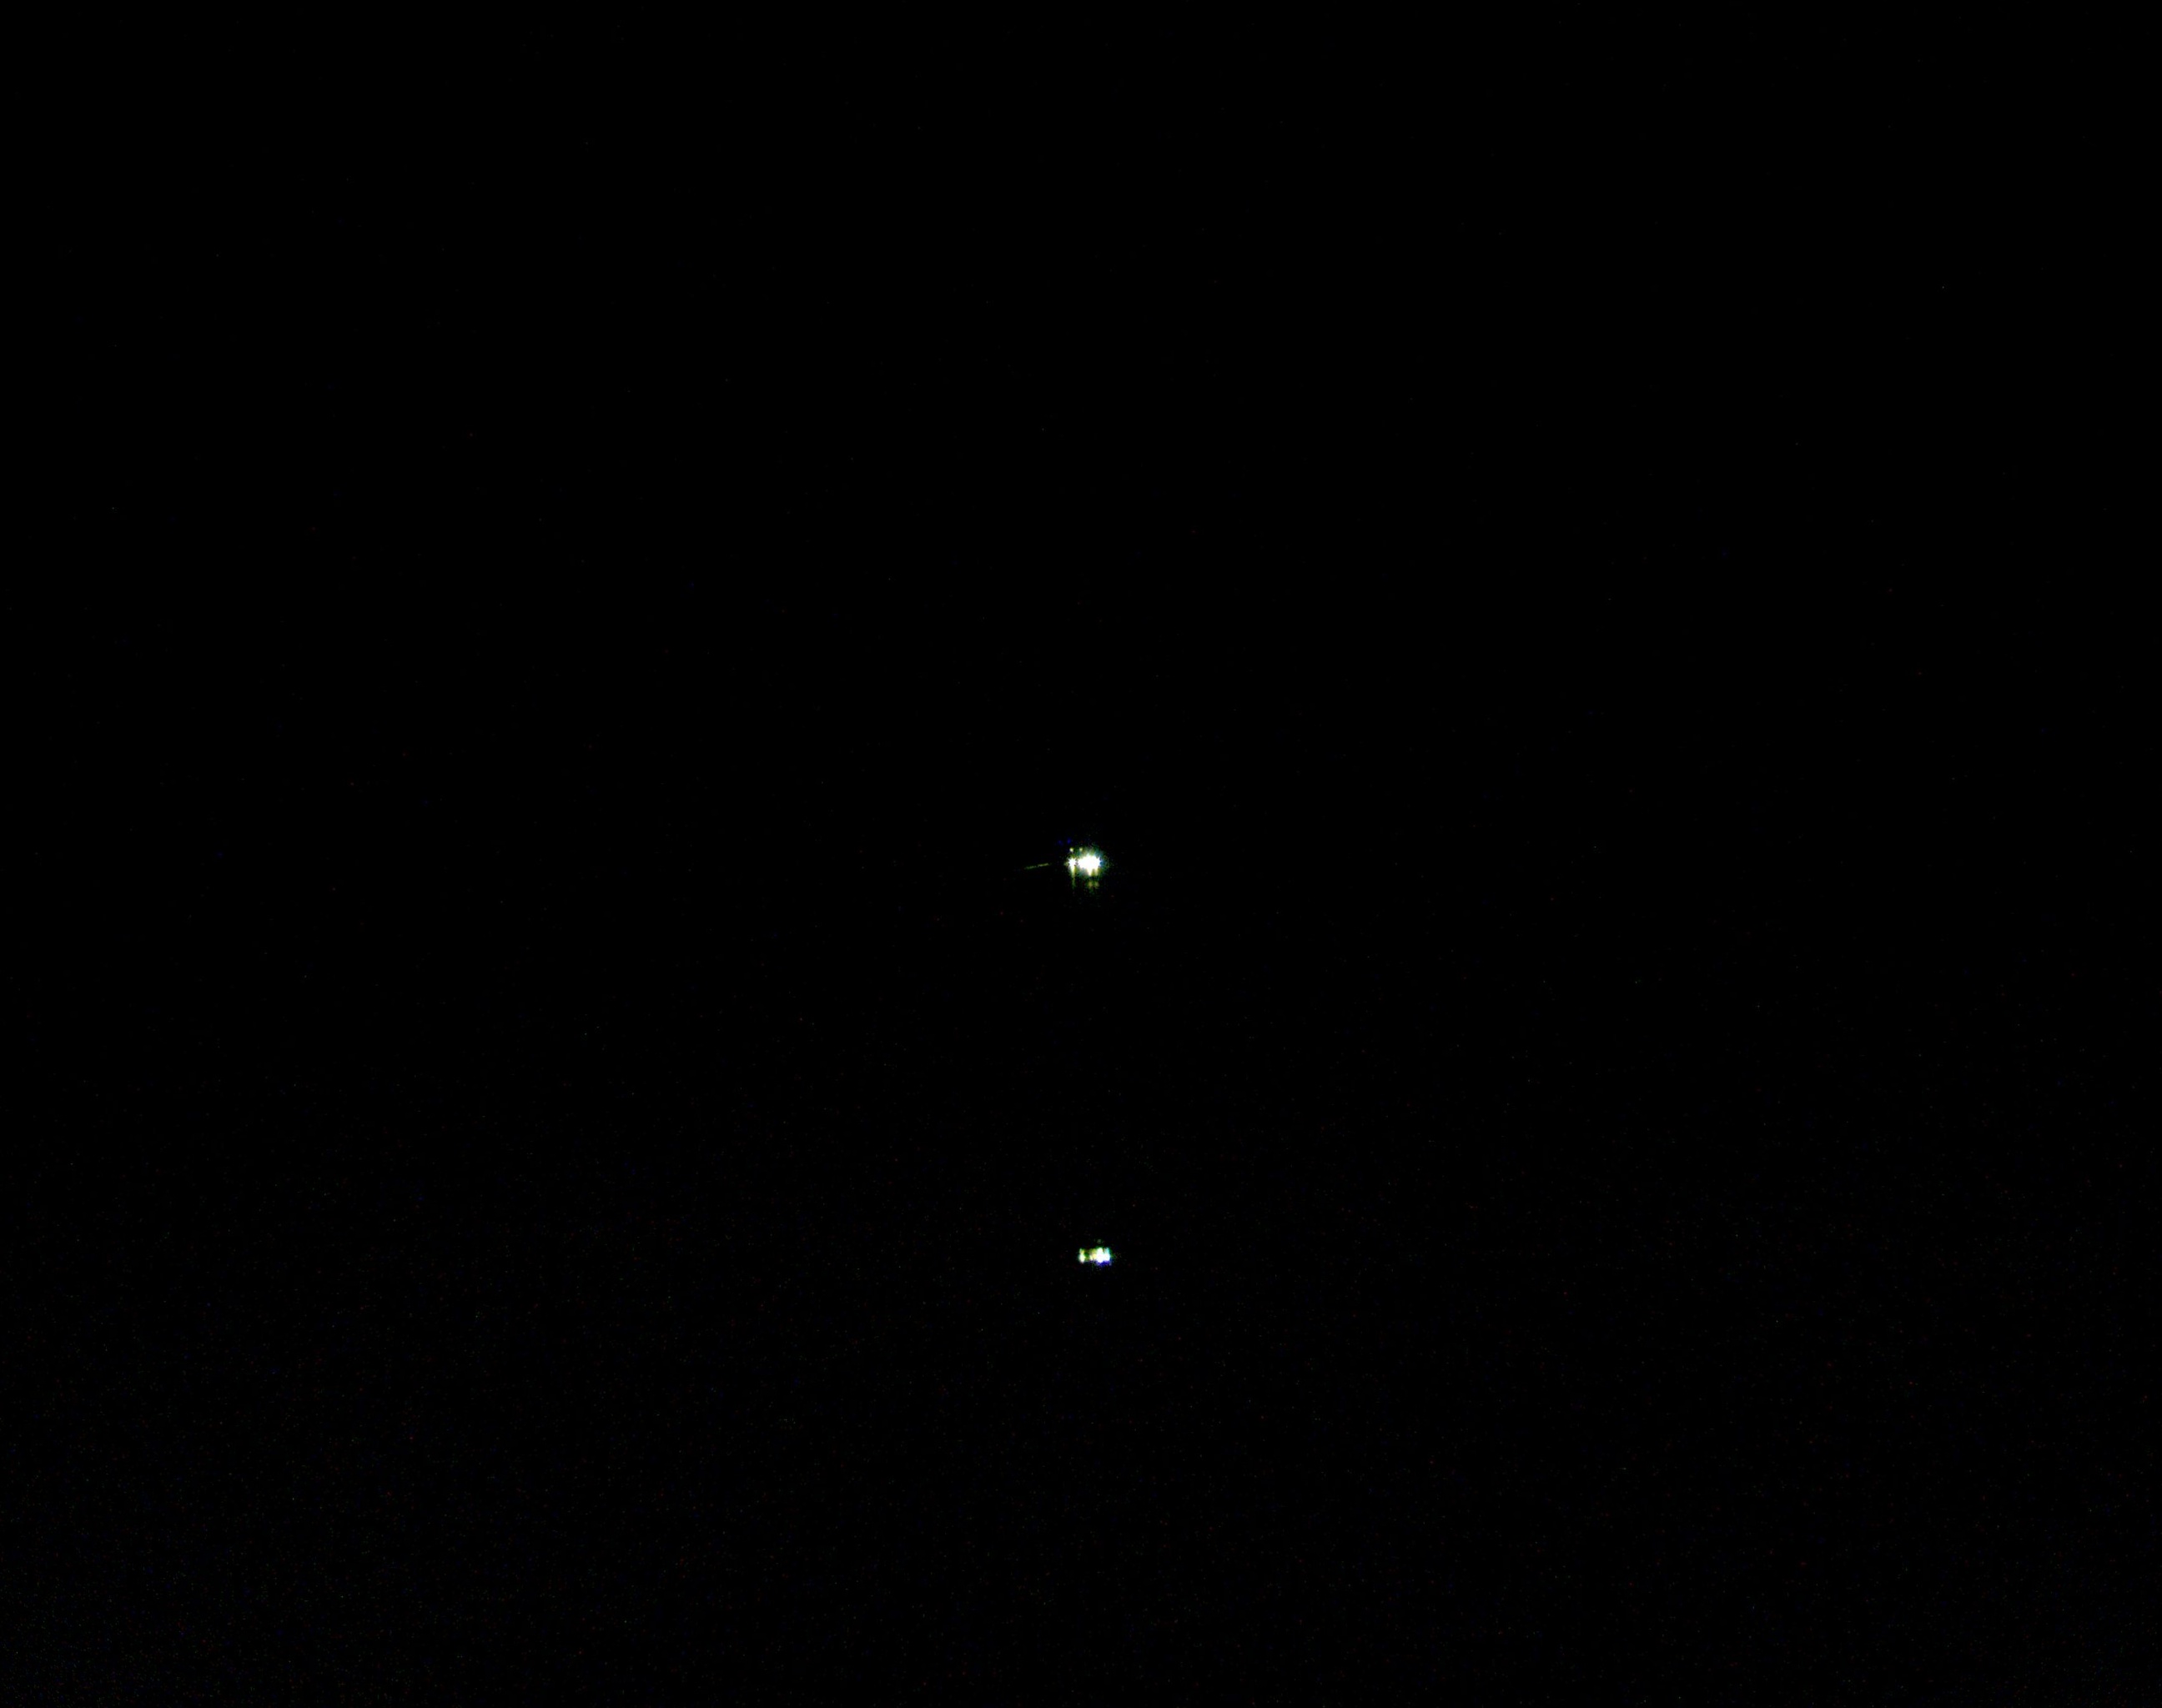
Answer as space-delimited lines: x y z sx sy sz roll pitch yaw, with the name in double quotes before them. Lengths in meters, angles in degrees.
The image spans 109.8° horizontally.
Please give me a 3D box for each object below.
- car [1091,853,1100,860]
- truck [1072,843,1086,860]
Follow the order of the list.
"car" 3.340 0.567 175.362 1.845 1.474 4.293 -3 0 3
"truck" -0.481 -0.579 188.617 3.003 3.876 12.889 -3 0 1
